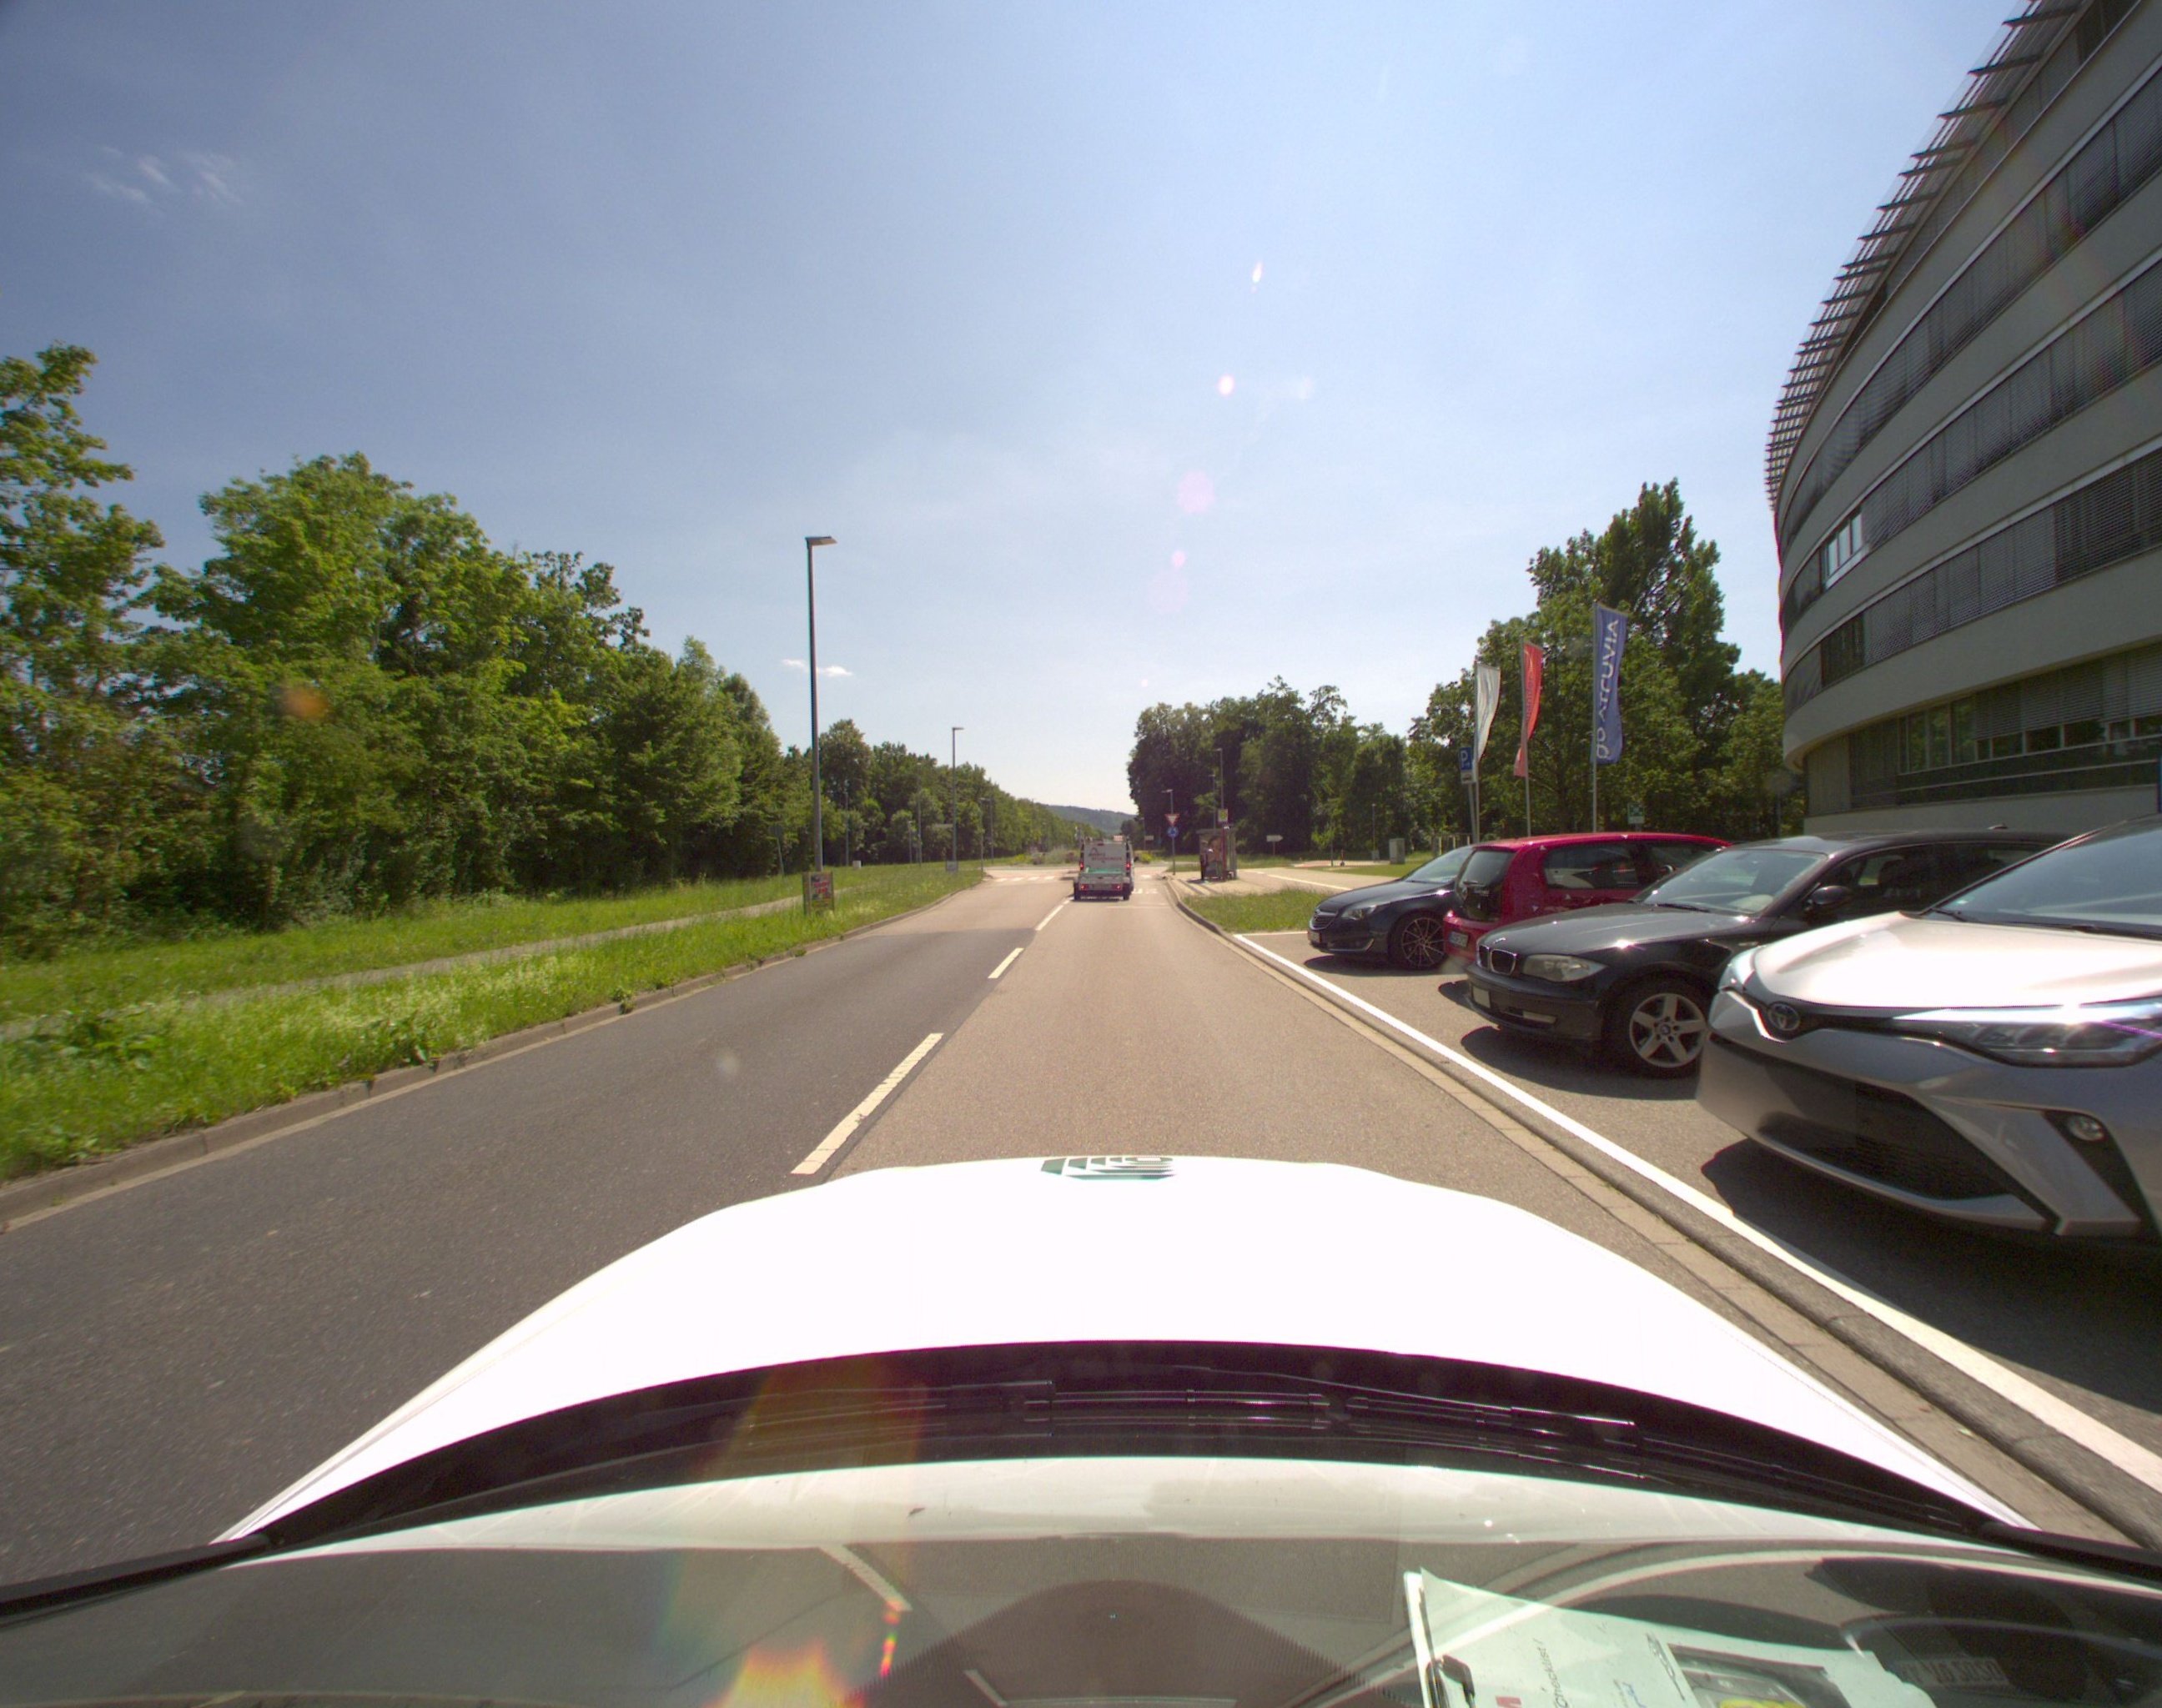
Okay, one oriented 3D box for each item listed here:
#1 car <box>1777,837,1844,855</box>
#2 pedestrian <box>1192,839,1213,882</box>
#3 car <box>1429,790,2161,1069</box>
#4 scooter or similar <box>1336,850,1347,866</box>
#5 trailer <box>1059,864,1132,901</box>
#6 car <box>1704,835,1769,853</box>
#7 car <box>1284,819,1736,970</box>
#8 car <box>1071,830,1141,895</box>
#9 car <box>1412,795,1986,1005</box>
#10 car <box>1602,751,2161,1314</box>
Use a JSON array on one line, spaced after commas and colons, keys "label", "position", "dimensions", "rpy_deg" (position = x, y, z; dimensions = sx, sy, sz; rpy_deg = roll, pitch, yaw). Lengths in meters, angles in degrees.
[{"label": "car", "position": [60.919, -0.687, 68.100], "dimensions": [3.757, 1.416, 1.889], "rpy_deg": [-1, 0, 11]}, {"label": "pedestrian", "position": [5.253, 0.272, 35.284], "dimensions": [0.705, 1.822, 0.827], "rpy_deg": [-3, -1, 3]}, {"label": "car", "position": [4.619, 0.449, 5.515], "dimensions": [3.790, 1.486, 1.658], "rpy_deg": [-2, 0, 4]}, {"label": "scooter or similar", "position": [19.601, 0.307, 61.316], "dimensions": [0.442, 1.201, 1.407], "rpy_deg": [-1, 0, 30]}, {"label": "trailer", "position": [0.565, 0.918, 27.147], "dimensions": [2.110, 1.097, 3.361], "rpy_deg": [0, 0, 6]}, {"label": "car", "position": [55.163, -0.837, 68.616], "dimensions": [3.965, 1.485, 1.707], "rpy_deg": [0, 3, 7]}, {"label": "car", "position": [5.027, 0.465, 10.047], "dimensions": [4.551, 1.432, 1.828], "rpy_deg": [-3, 0, 1]}, {"label": "car", "position": [1.063, 0.309, 31.323], "dimensions": [2.154, 2.316, 4.992], "rpy_deg": [0, 0, 8]}, {"label": "car", "position": [5.510, 0.408, 7.756], "dimensions": [3.968, 1.655, 1.841], "rpy_deg": [-2, 0, 4]}, {"label": "car", "position": [4.745, 0.413, 3.087], "dimensions": [4.302, 1.563, 1.788], "rpy_deg": [-3, 0, 3]}]
